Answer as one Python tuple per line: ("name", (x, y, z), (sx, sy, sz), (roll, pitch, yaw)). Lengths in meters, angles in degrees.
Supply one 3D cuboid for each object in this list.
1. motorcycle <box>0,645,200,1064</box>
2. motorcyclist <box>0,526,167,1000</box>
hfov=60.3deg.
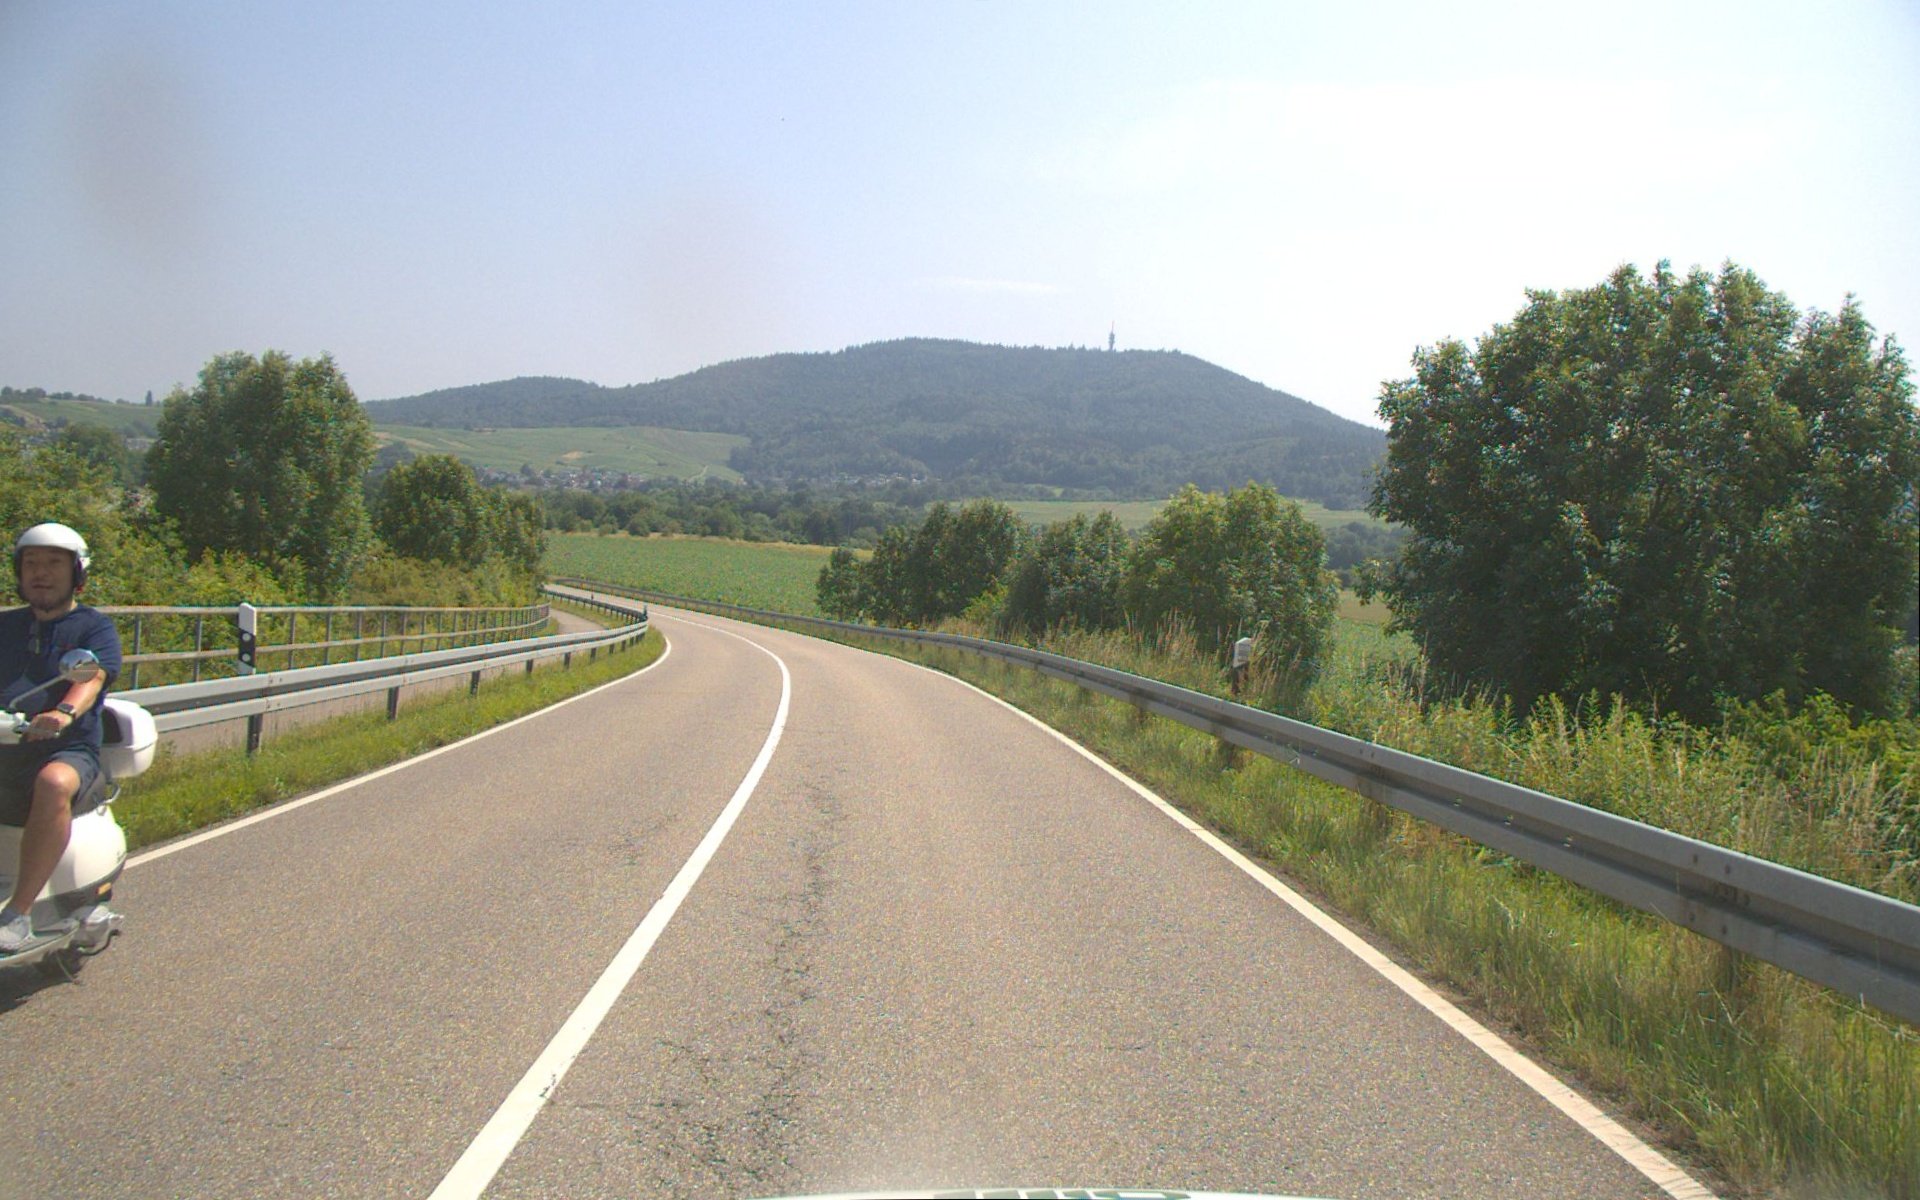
("motorcycle", (-3.348, 0.813, 5.868), (0.630, 1.245, 1.637), (1, 0, -4))
("motorcyclist", (-3.340, 0.544, 5.924), (0.641, 1.590, 0.775), (1, 0, -5))
